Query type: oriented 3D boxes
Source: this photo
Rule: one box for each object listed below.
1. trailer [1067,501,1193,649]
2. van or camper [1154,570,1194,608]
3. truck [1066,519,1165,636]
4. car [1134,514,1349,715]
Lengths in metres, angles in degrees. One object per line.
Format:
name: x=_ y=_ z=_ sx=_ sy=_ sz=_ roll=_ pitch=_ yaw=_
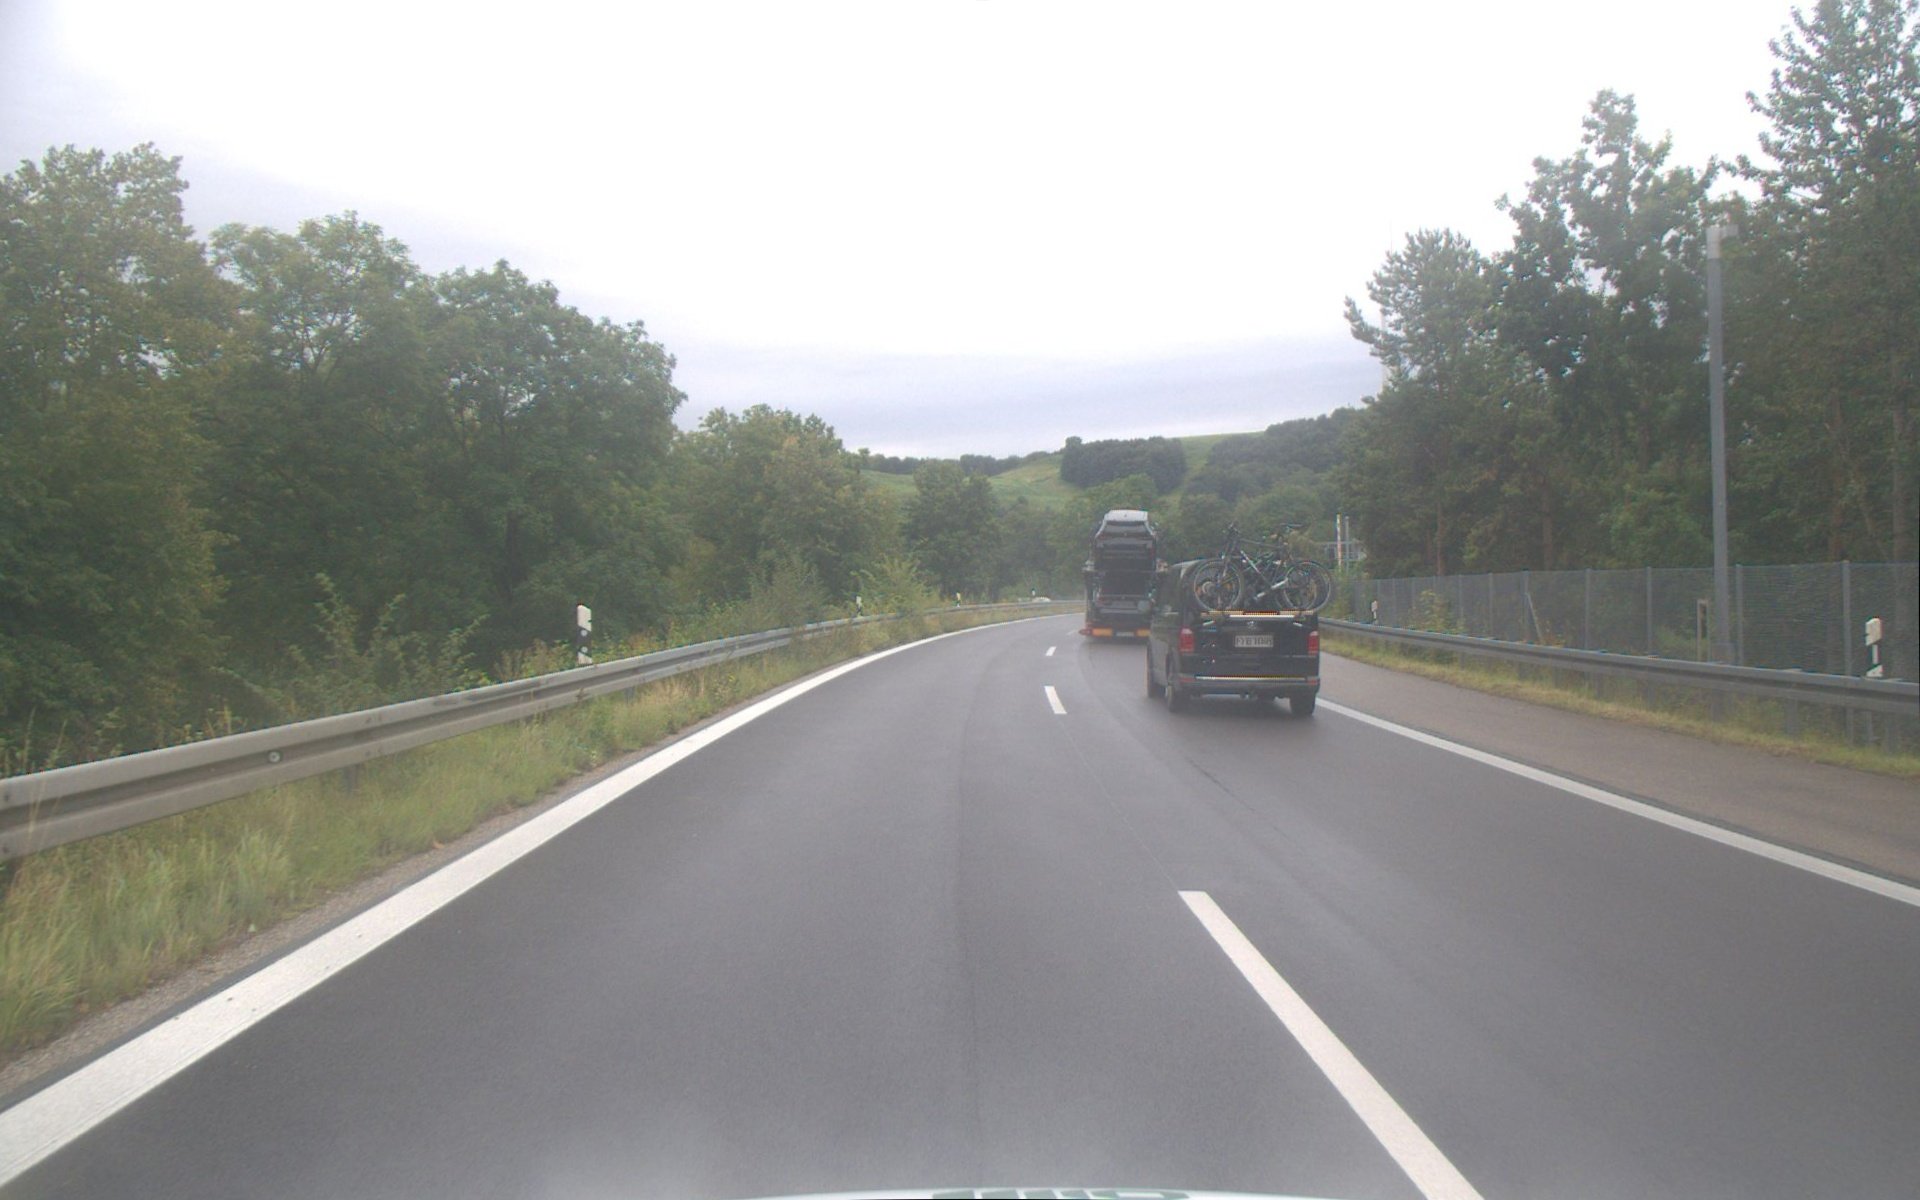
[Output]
trailer: x=5.171 y=-0.757 z=52.551 sx=3.377 sy=4.069 sz=12.032 roll=1 pitch=0 yaw=3
van or camper: x=13.248 y=-0.665 z=102.224 sx=2.047 sy=2.270 sz=4.435 roll=1 pitch=0 yaw=12
truck: x=5.853 y=-0.835 z=63.977 sx=3.323 sy=4.069 sz=10.851 roll=1 pitch=0 yaw=3
car: x=3.609 y=0.130 z=22.343 sx=2.066 sy=2.304 sz=5.898 roll=1 pitch=1 yaw=2
